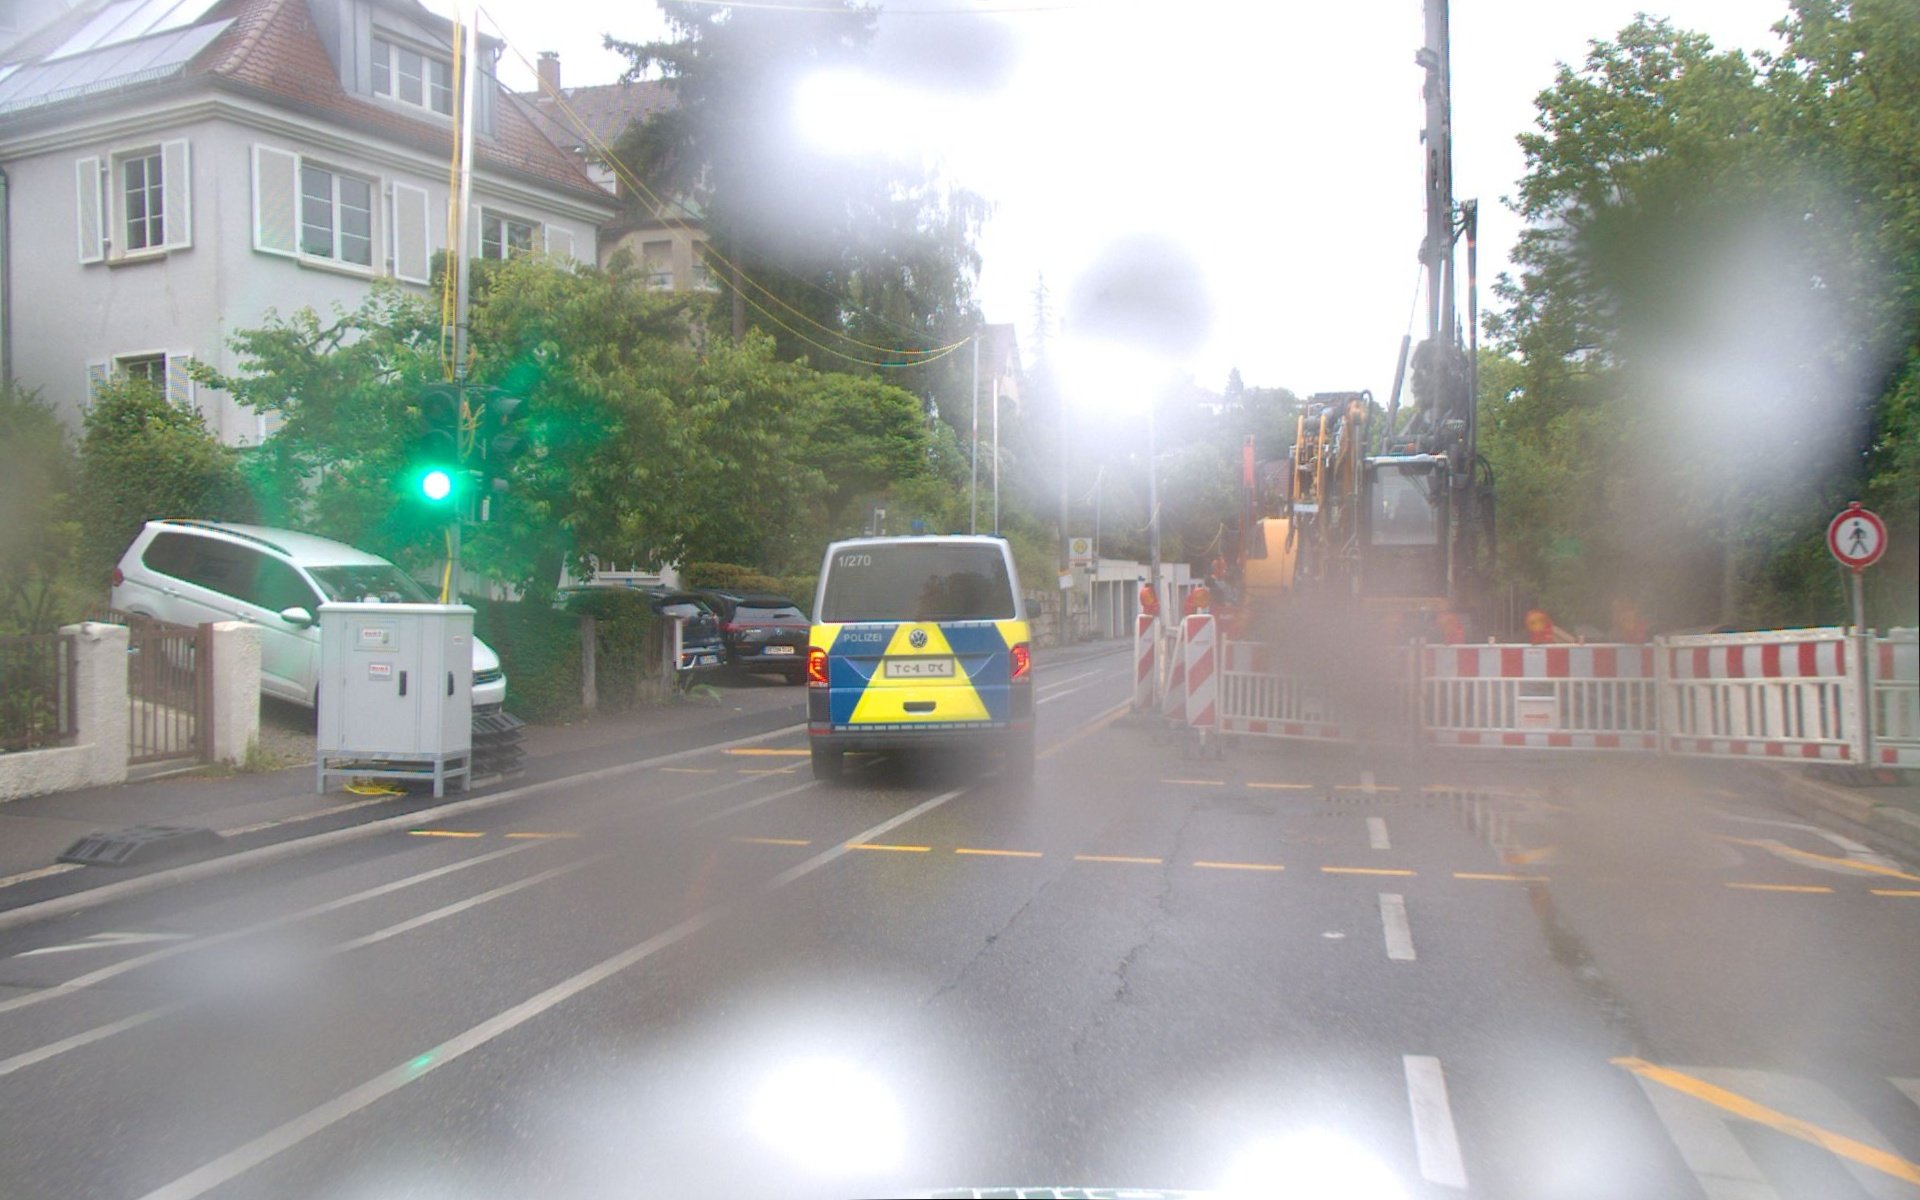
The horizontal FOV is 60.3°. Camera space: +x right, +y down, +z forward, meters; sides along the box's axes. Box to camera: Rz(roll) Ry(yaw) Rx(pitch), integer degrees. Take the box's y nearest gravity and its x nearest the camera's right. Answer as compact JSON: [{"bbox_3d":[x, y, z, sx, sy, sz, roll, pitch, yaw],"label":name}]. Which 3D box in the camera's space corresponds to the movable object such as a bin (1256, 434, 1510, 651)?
[{"bbox_3d":[11.183,-1.321,43.268,3.626,5.155,7.124,-2,-2,40],"label":"movable object such as a bin"}]

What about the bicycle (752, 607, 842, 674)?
[{"bbox_3d":[-2.888,0.711,29.310,1.586,1.151,0.442,1,-1,26],"label":"bicycle"}]

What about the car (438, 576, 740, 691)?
[{"bbox_3d":[-5.433,0.465,24.314,3.905,1.552,1.940,1,-1,22],"label":"car"}]

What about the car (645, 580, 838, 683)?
[{"bbox_3d":[-3.651,0.485,27.040,1.762,1.552,3.960,1,0,-30],"label":"car"}]

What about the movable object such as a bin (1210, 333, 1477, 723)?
[{"bbox_3d":[4.832,-0.788,20.576,2.817,4.243,4.490,-1,0,15],"label":"movable object such as a bin"}]

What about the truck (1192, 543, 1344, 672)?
[{"bbox_3d":[5.583,0.157,29.797,2.496,2.145,3.306,-1,-1,12],"label":"truck"}]

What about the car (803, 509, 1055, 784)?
[{"bbox_3d":[-0.315,0.376,14.699,1.870,2.046,4.437,1,-1,-2],"label":"car"}]

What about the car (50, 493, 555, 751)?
[{"bbox_3d":[-6.860,0.138,17.205,4.870,1.642,1.863,11,5,23],"label":"car"}]
